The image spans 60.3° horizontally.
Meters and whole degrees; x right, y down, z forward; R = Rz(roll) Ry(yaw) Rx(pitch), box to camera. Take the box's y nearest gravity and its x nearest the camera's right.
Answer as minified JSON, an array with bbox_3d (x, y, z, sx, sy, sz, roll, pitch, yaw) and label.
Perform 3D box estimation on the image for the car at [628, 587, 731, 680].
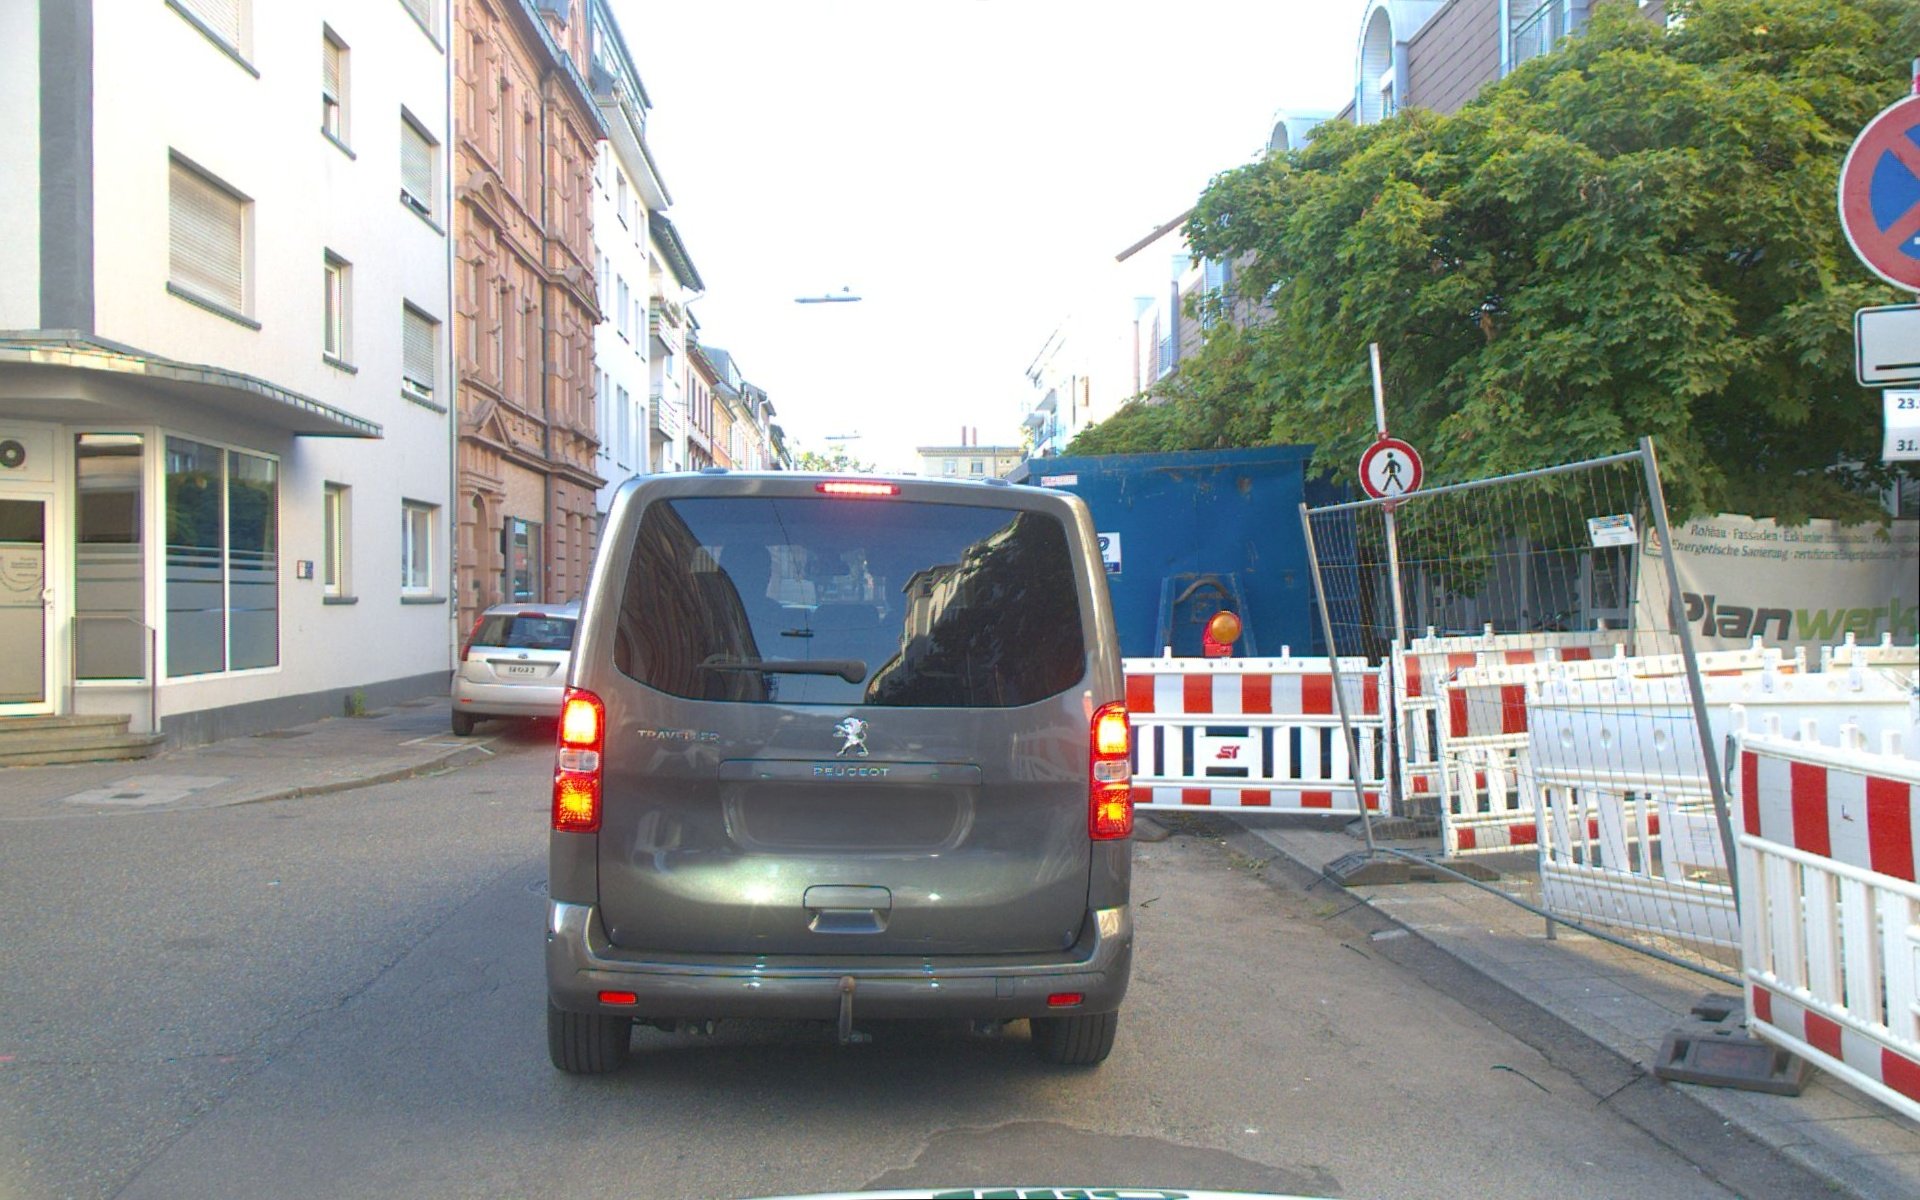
[{"bbox_3d":[-5.933,0.697,35.356,1.856,1.749,3.748,4,-1,-7],"label":"car"}]

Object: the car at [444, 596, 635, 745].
[{"bbox_3d":[-4.808,0.772,19.336,1.625,1.485,3.413,4,-1,-7],"label":"car"}]

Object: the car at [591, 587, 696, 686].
[{"bbox_3d":[-6.020,0.689,31.710,1.635,1.695,3.087,4,-1,-7],"label":"car"}]

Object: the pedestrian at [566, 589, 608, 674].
[{"bbox_3d":[-7.475,0.623,33.166,0.726,1.693,0.702,-1,0,-8],"label":"pedestrian"}]

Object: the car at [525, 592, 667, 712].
[{"bbox_3d":[-5.348,0.742,24.637,1.625,1.552,3.413,4,-1,-7],"label":"car"}]

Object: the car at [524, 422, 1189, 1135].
[{"bbox_3d":[-0.502,0.502,6.675,1.829,1.919,4.229,0,-1,-7],"label":"car"}]
